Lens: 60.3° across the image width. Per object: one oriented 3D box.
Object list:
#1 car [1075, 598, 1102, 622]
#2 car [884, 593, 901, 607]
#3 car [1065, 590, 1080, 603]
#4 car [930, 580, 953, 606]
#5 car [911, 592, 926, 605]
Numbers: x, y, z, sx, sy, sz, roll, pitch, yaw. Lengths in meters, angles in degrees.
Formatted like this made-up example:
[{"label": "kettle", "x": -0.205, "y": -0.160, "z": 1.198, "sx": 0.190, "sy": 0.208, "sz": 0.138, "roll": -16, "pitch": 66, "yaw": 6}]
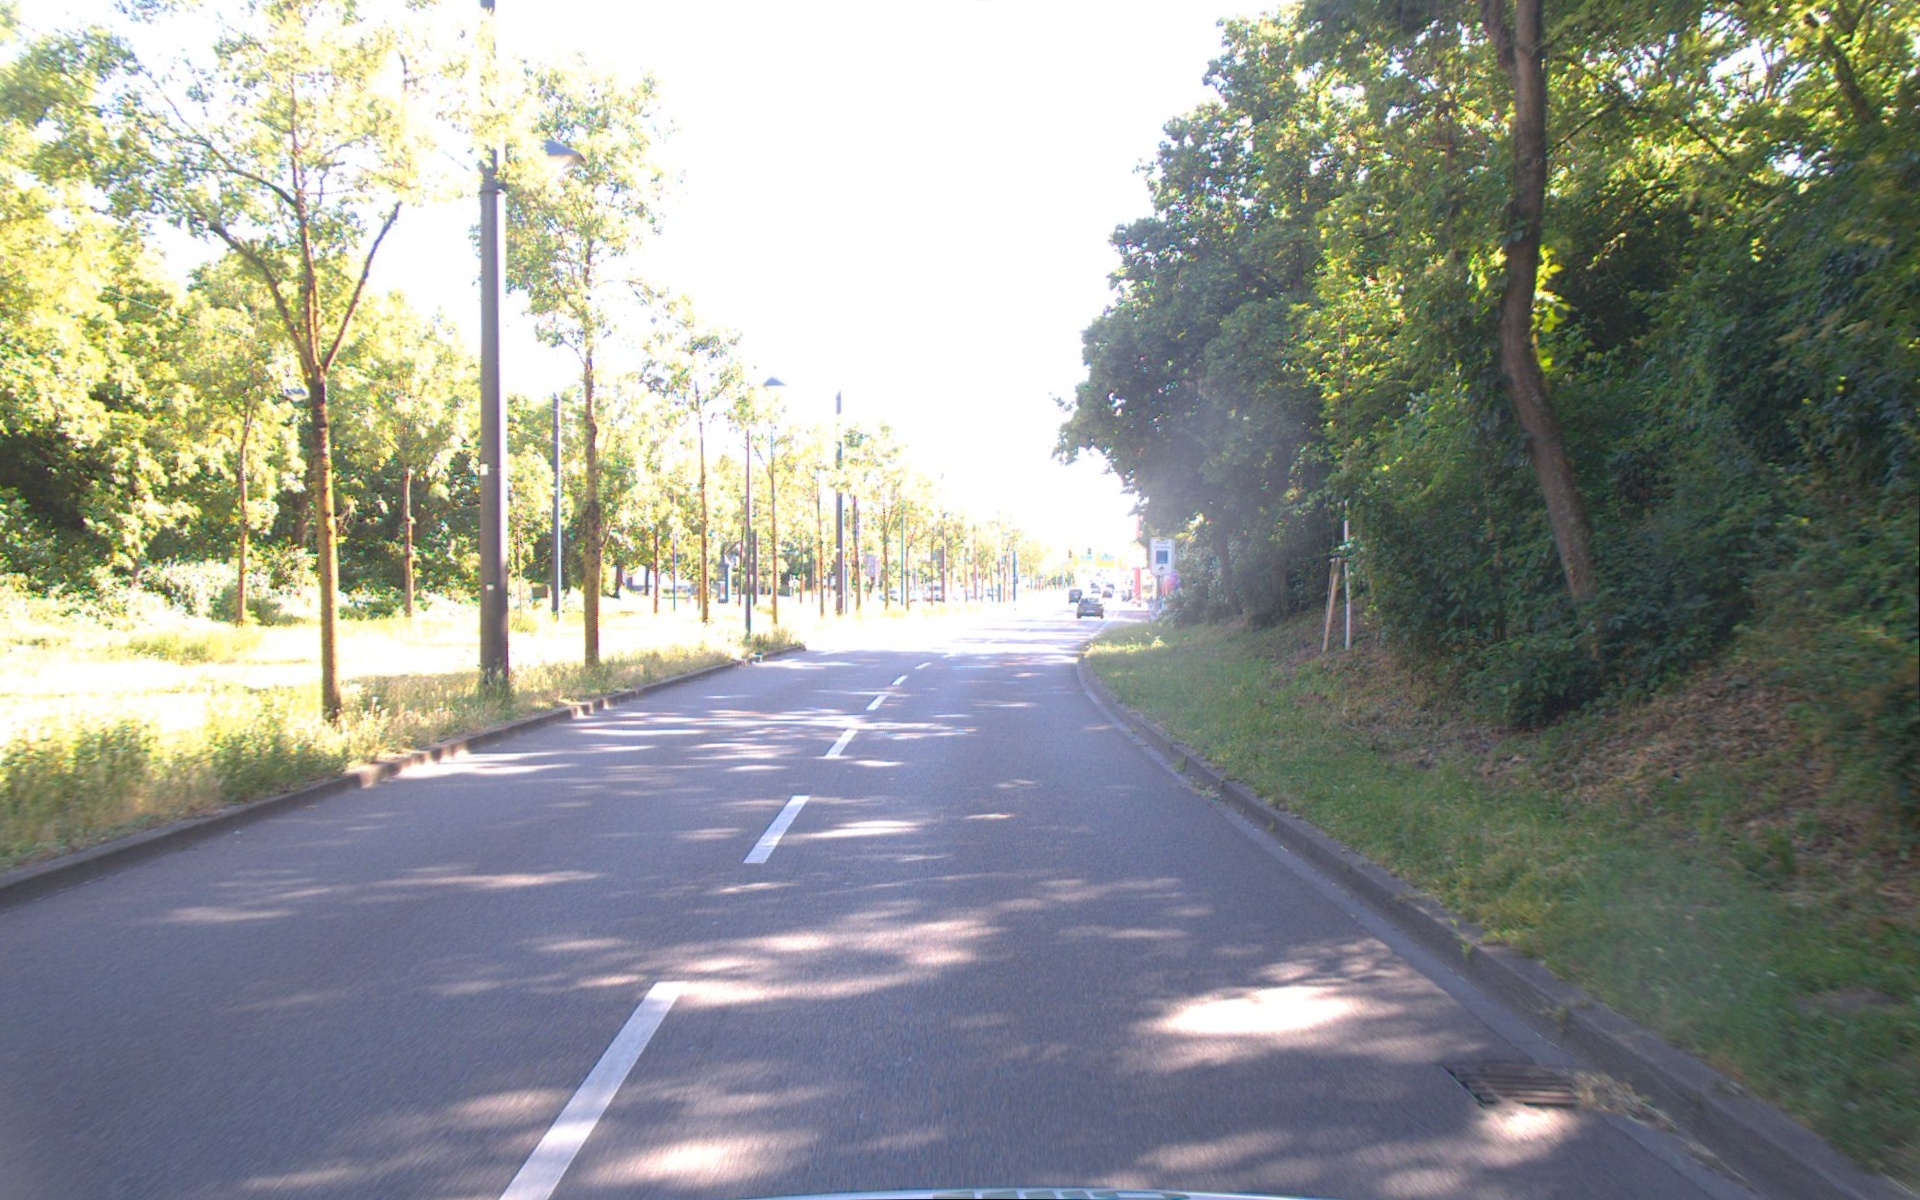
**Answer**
[{"label": "car", "x": 8.394, "y": 0.635, "z": 107.858, "sx": 1.599, "sy": 1.524, "sz": 4.237, "roll": 0, "pitch": 0, "yaw": 6}, {"label": "car", "x": -8.159, "y": -0.024, "z": 201.136, "sx": 1.596, "sy": 1.710, "sz": 4.194, "roll": 0, "pitch": 0, "yaw": 4}, {"label": "car", "x": 13.449, "y": -0.372, "z": 197.714, "sx": 1.599, "sy": 1.524, "sz": 4.237, "roll": 0, "pitch": 0, "yaw": 6}, {"label": "car", "x": -2.405, "y": -0.874, "z": 211.452, "sx": 2.413, "sy": 3.296, "sz": 6.137, "roll": 1, "pitch": 0, "yaw": 4}, {"label": "car", "x": -5.524, "y": -0.155, "z": 220.217, "sx": 1.596, "sy": 1.710, "sz": 4.194, "roll": 0, "pitch": 0, "yaw": 4}]
